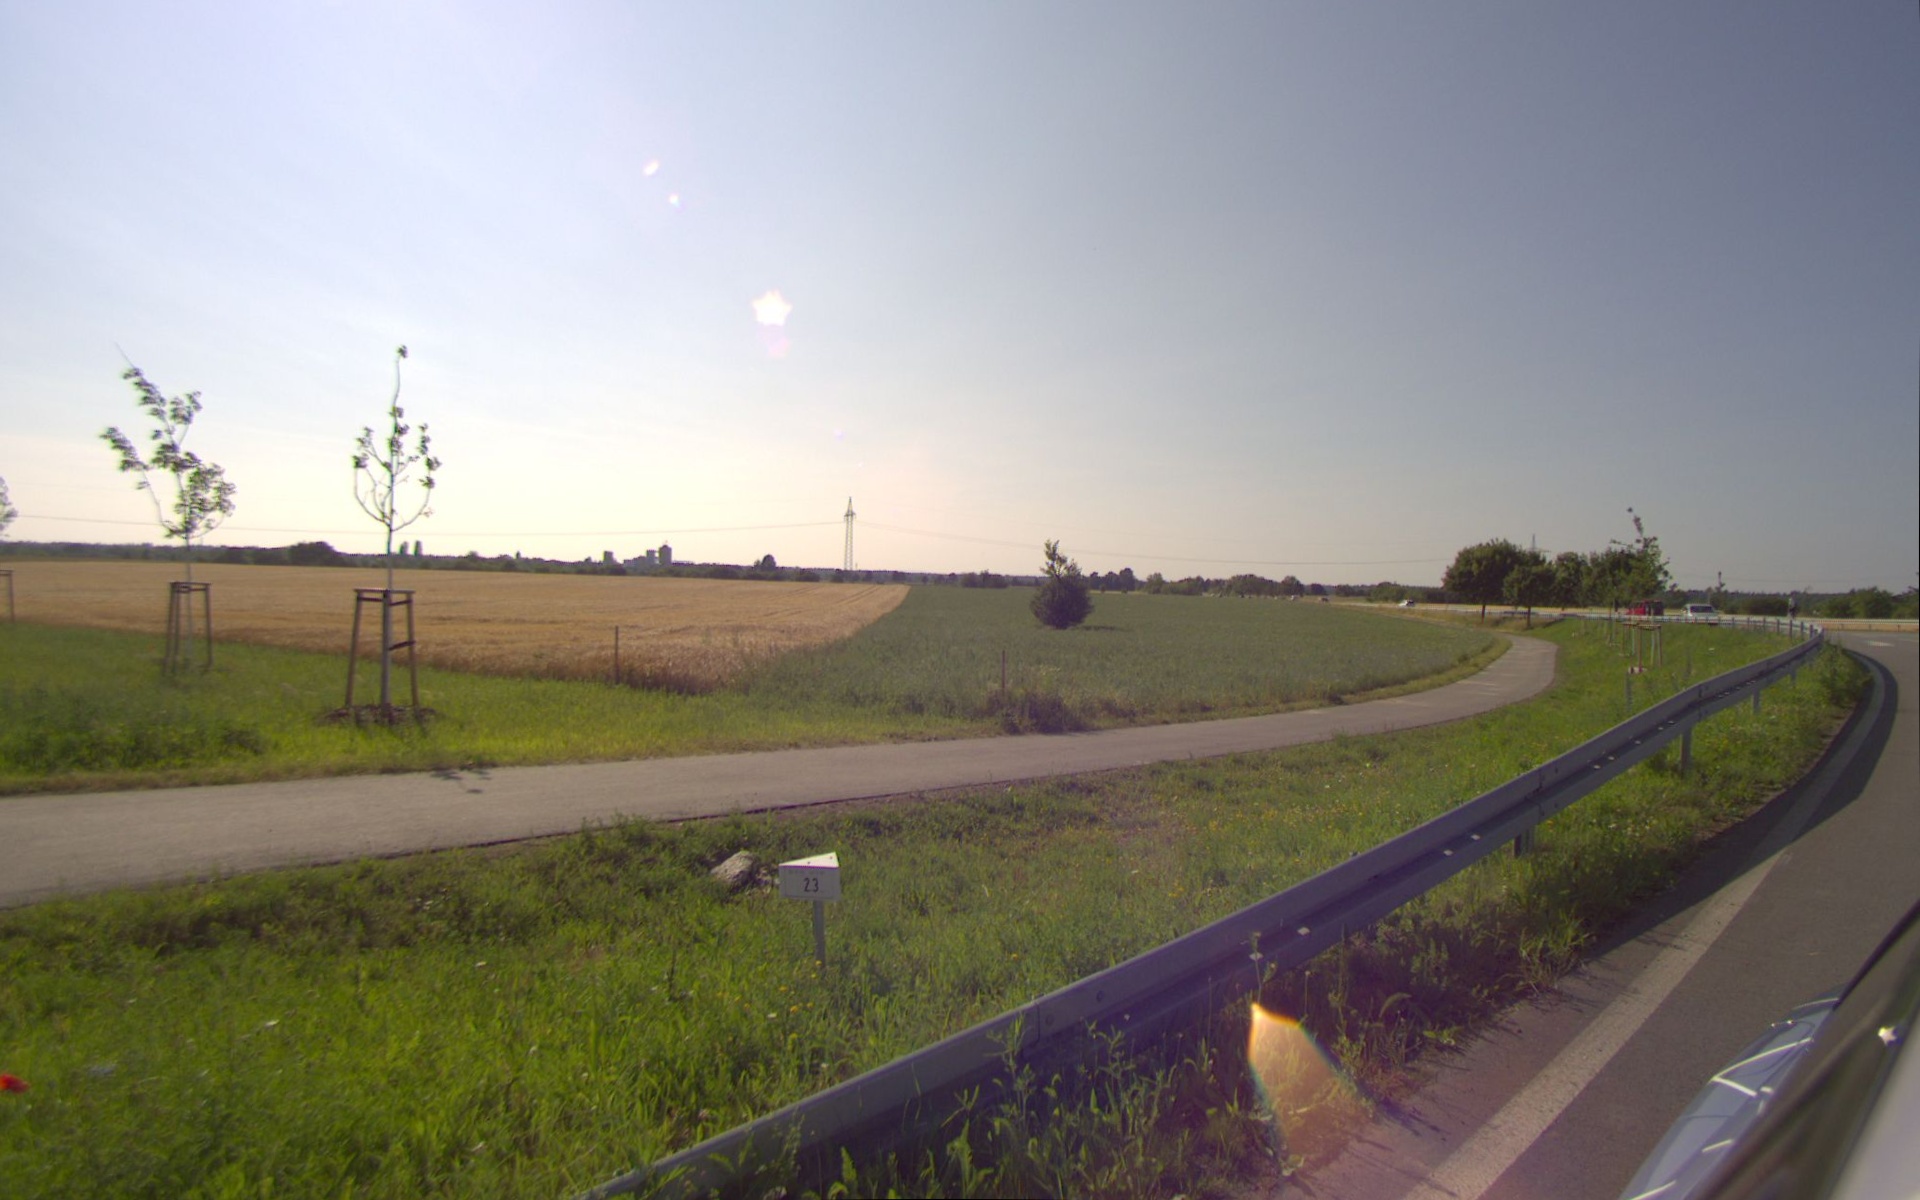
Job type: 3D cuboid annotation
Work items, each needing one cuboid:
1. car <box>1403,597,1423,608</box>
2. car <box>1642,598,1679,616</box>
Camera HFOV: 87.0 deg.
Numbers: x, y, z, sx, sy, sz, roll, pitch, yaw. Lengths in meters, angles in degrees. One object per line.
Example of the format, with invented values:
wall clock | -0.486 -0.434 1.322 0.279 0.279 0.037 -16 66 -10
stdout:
car | 79.350 0.394 177.327 1.965 1.779 3.993 1 0 6
car | 66.141 0.650 95.585 1.792 1.694 3.975 0 0 19
